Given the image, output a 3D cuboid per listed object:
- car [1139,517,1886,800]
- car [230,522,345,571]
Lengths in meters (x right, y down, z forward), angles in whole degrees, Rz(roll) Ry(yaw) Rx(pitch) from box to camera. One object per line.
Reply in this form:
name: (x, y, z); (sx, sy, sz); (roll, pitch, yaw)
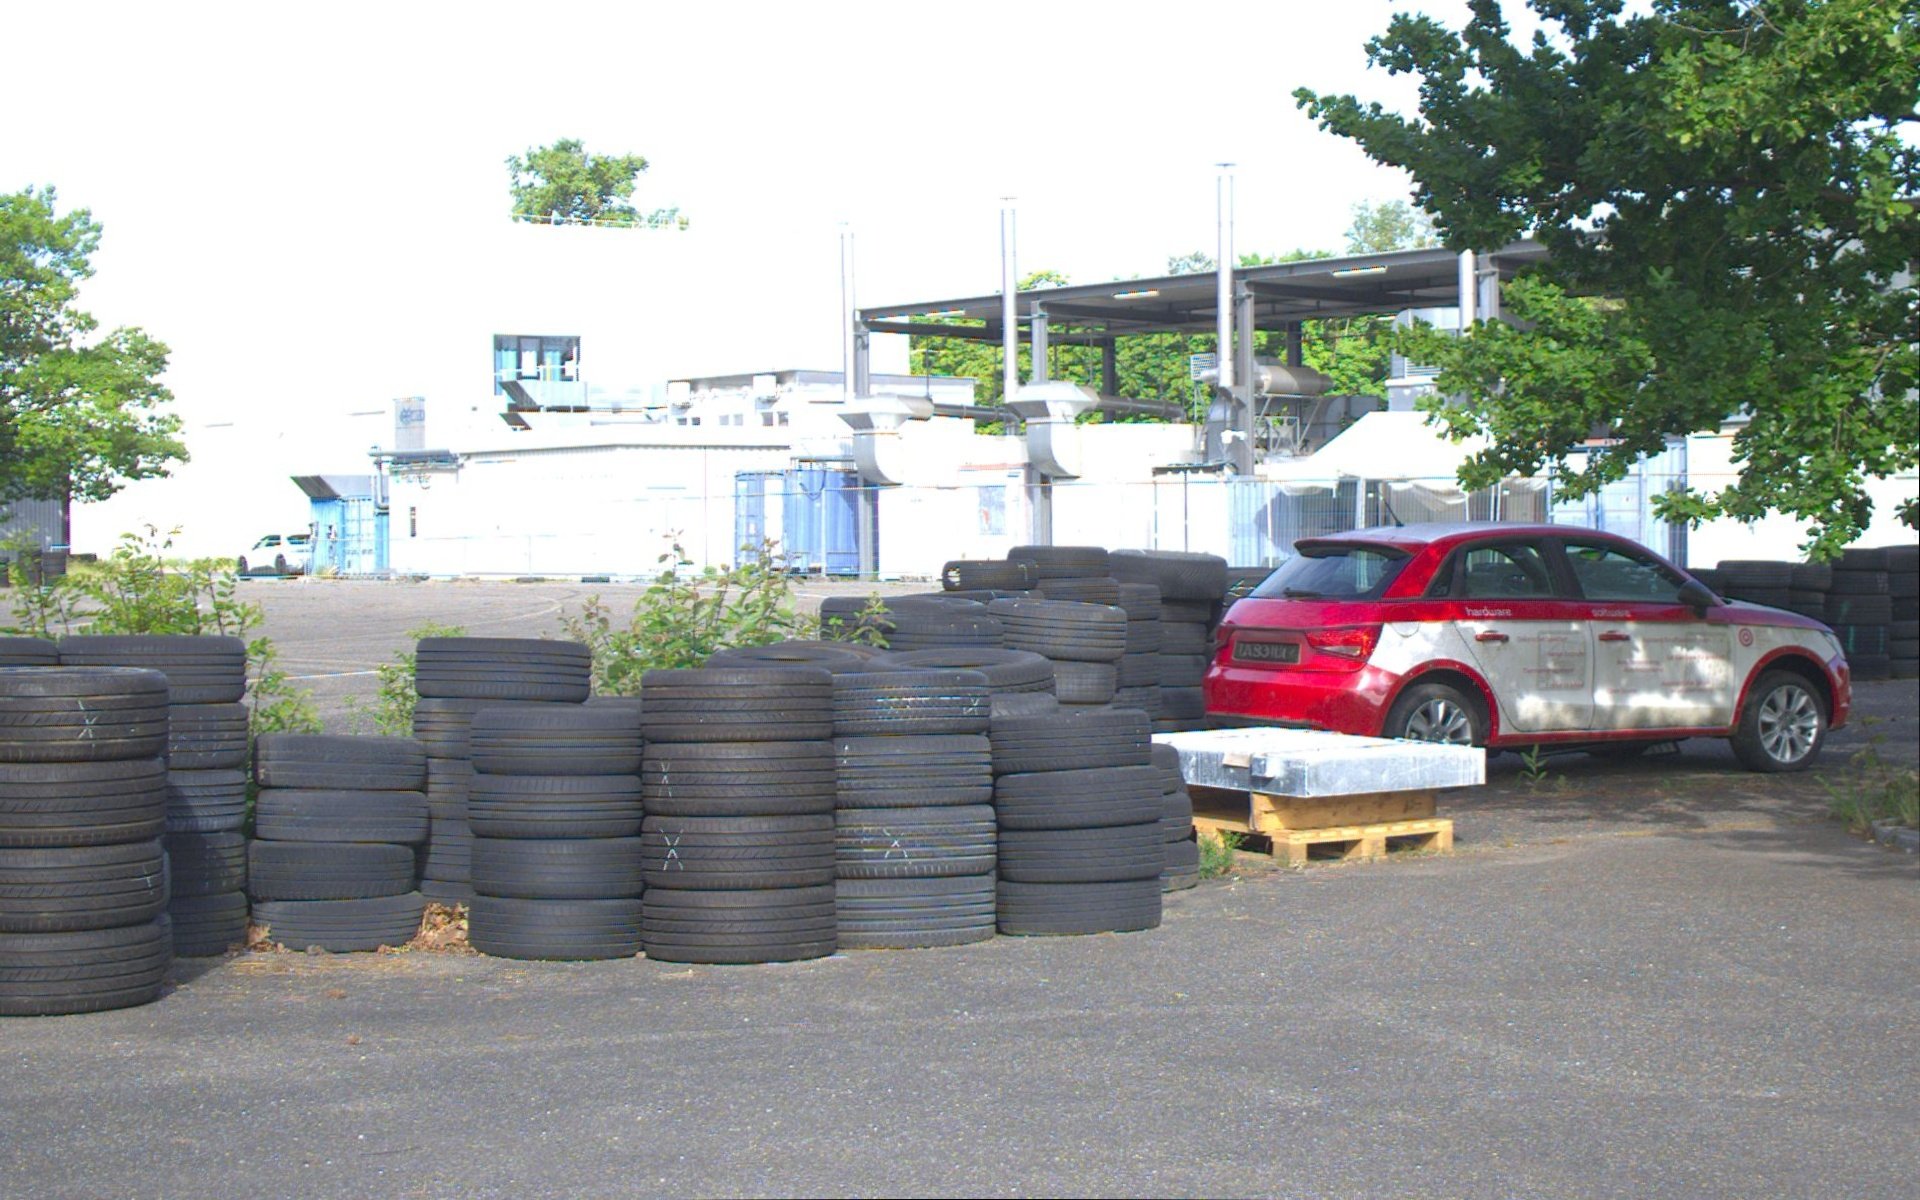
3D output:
car: (3.180, 0.267, 19.648); (3.986, 1.459, 1.728); (-1, 1, -28)
car: (-21.936, -1.752, 111.980); (1.869, 1.559, 4.547); (-1, 2, -37)
